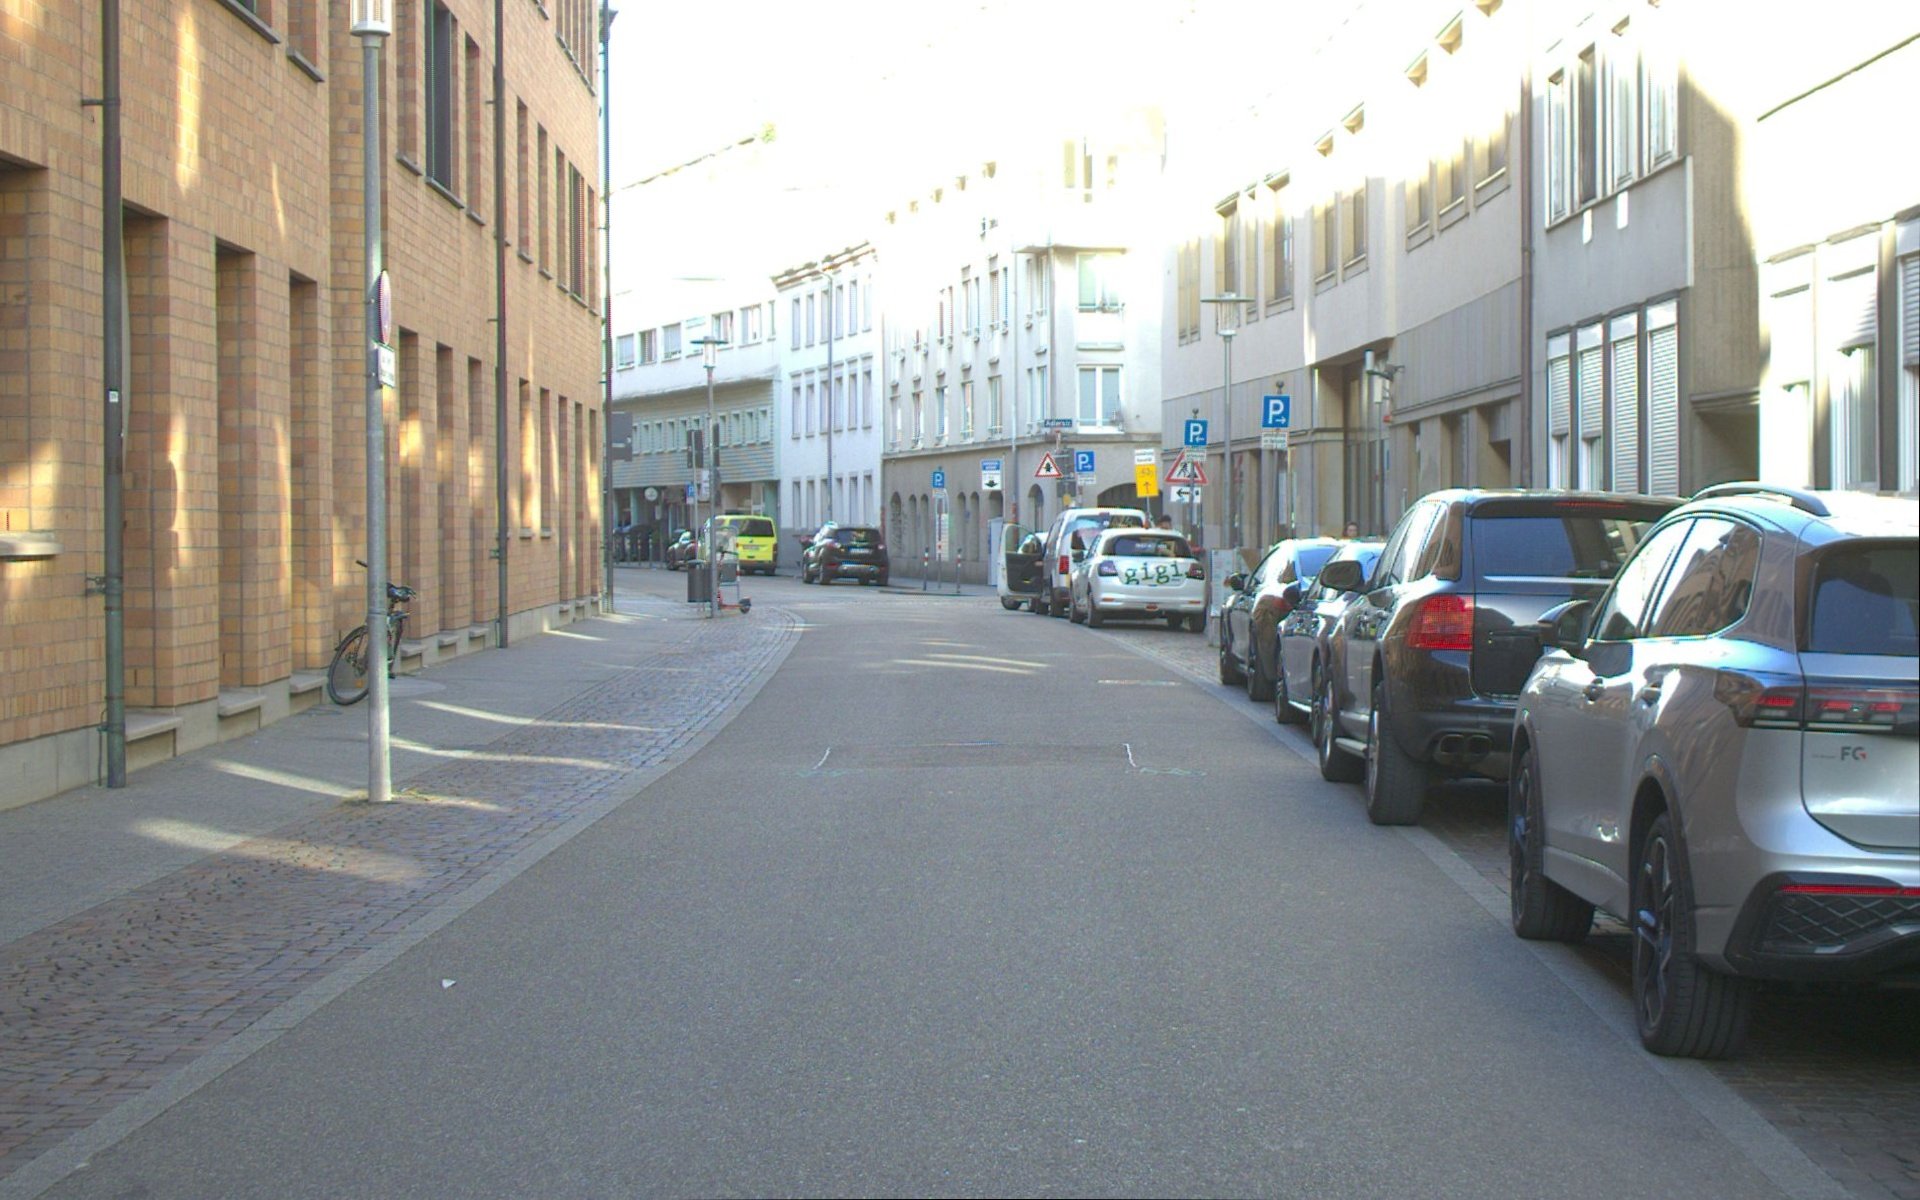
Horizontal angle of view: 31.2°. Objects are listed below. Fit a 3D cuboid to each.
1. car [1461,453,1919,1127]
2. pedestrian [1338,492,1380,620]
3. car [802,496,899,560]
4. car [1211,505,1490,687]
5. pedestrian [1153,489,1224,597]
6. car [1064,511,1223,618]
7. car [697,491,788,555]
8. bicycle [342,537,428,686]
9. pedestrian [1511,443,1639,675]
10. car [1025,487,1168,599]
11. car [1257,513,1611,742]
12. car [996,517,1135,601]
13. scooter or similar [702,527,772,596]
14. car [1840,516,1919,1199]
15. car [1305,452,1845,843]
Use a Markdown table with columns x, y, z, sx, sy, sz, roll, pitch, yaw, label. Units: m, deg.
| x | y | z | sx | sy | sz | roll | pitch | yaw | label |
| --- | --- | --- | --- | --- | --- | --- | --- | --- | --- |
| 2.953 | 0.437 | 11.129 | 1.993 | 1.696 | 4.843 | 2 | 2 | 1 | car |
| 5.188 | -0.575 | 44.695 | 0.481 | 1.648 | 0.538 | -1 | 1 | 12 | pedestrian |
| -3.009 | -1.982 | 93.826 | 1.967 | 1.686 | 4.103 | 1 | 1 | -11 | car |
| 3.383 | -0.108 | 30.739 | 1.894 | 1.448 | 5.226 | 1 | 2 | 0 | car |
| 3.846 | -0.962 | 57.862 | 1.042 | 1.795 | 1.199 | 0 | 1 | -4 | pedestrian |
| 2.719 | -0.566 | 51.843 | 1.840 | 1.473 | 4.169 | 2 | 2 | -4 | car |
| -6.967 | -2.466 | 109.996 | 2.052 | 2.006 | 4.176 | -1 | 2 | -16 | car |
| -4.816 | 0.078 | 28.878 | 0.631 | 1.158 | 1.804 | 2 | 2 | -8 | bicycle |
| 4.685 | -0.321 | 26.228 | 0.788 | 1.715 | 0.746 | -2 | 2 | 1 | pedestrian |
| 2.260 | -0.978 | 58.127 | 1.830 | 1.785 | 5.215 | 1 | 1 | -4 | car |
| 3.280 | 0.118 | 24.708 | 1.807 | 1.408 | 4.790 | 2 | 2 | 0 | car |
| 1.928 | -0.787 | 64.072 | 1.888 | 1.513 | 4.064 | 0 | 1 | -9 | car |
| -4.019 | -0.696 | 62.014 | 0.698 | 1.213 | 1.355 | 0 | 2 | 24 | scooter or similar |
| 2.938 | 0.671 | 5.714 | 1.823 | 1.499 | 4.600 | 3 | 2 | 2 | car |
| 3.111 | 0.146 | 18.526 | 2.103 | 1.779 | 5.052 | 1 | 2 | 2 | car |
